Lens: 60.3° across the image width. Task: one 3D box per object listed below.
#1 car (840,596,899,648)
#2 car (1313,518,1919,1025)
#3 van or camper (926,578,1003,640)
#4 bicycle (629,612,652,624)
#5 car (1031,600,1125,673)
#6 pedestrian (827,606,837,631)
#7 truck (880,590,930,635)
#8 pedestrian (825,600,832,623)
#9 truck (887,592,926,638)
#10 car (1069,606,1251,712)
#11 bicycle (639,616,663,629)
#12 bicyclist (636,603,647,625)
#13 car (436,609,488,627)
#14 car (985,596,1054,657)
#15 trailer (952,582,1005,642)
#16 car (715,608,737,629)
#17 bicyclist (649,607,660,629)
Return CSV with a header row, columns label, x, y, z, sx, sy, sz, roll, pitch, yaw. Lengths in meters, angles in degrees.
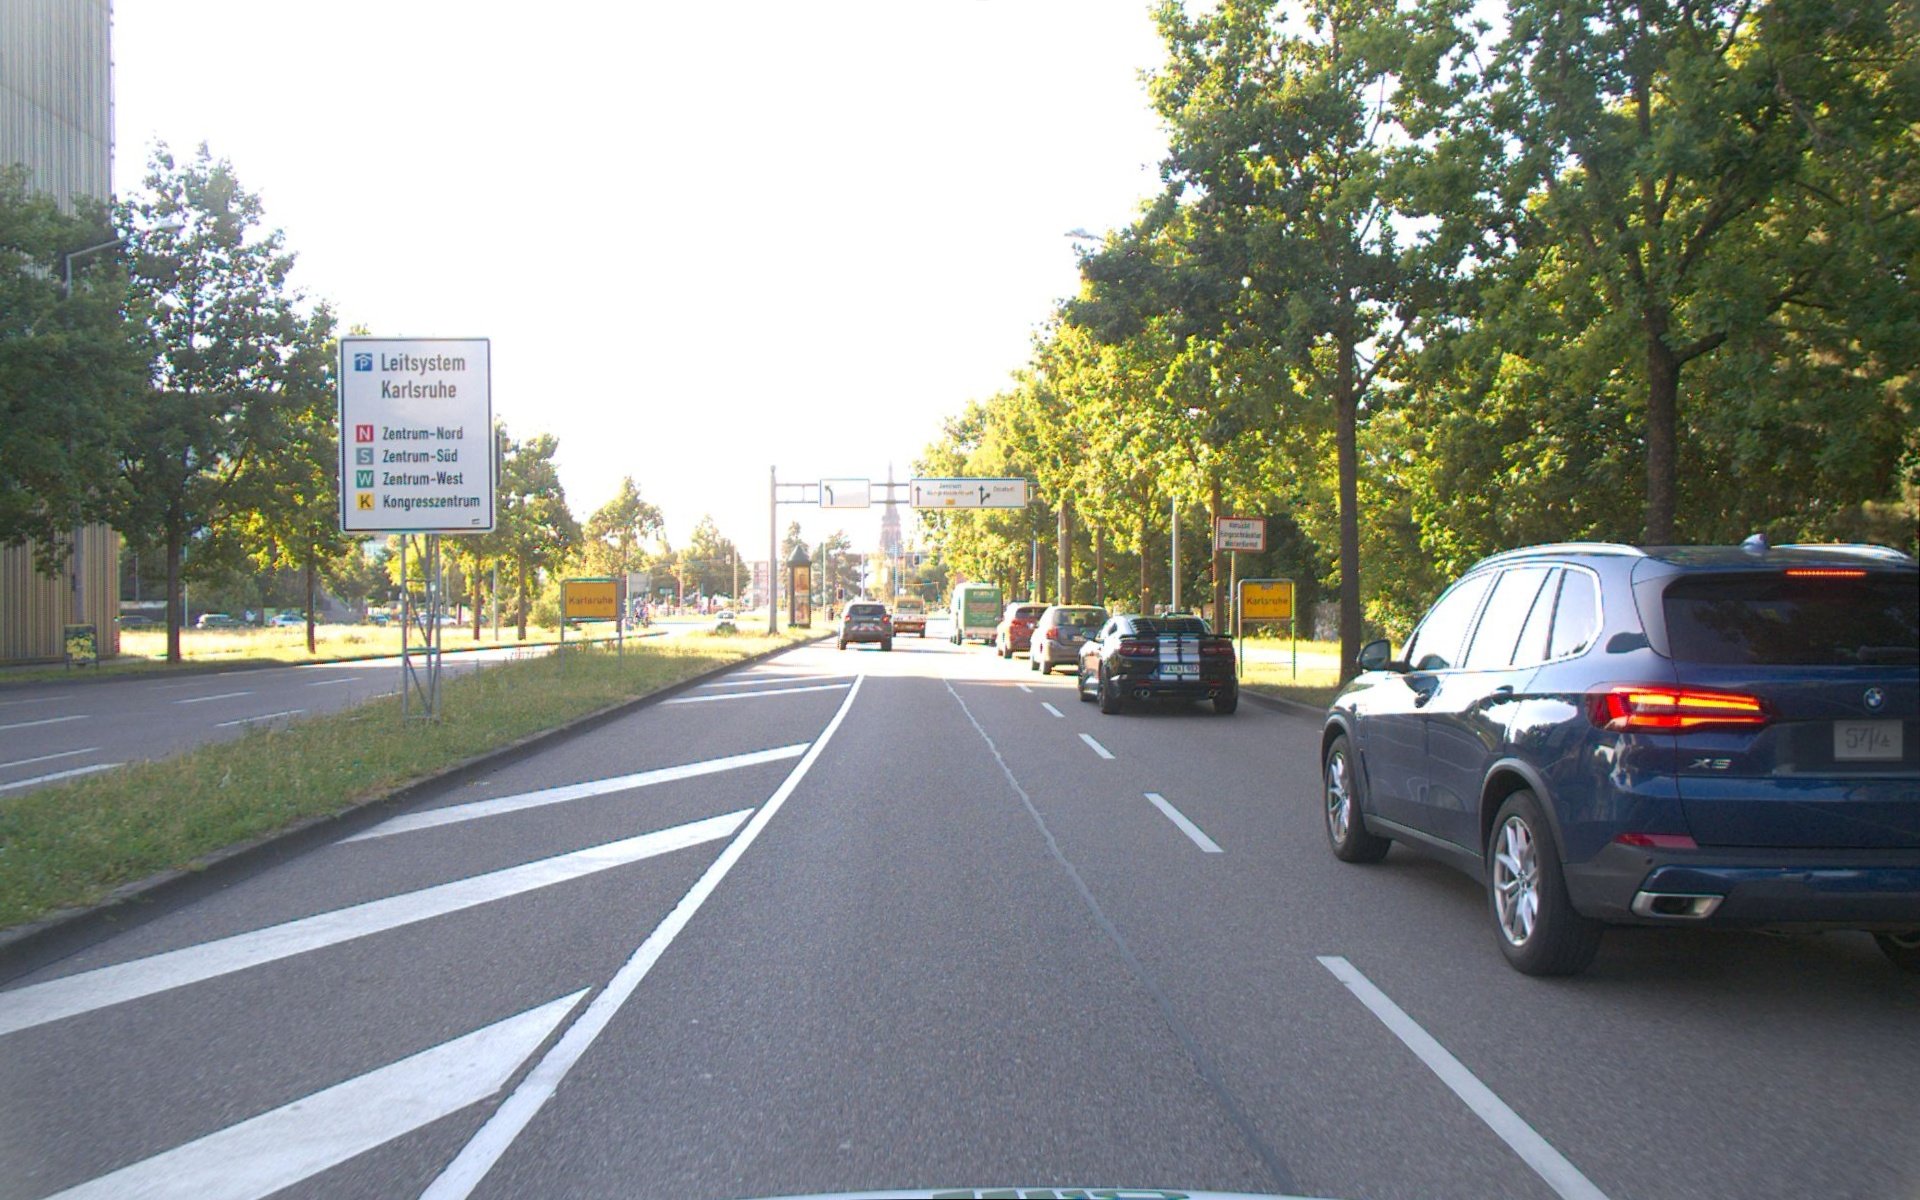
label,x,y,z,sx,sy,sz,roll,pitch,yaw
car,-3.141,0.736,56.935,1.868,1.689,3.995,0,0,-5
car,3.247,0.626,8.127,1.915,1.757,4.697,1,-1,-1
van or camper,0.133,0.388,76.169,2.244,2.675,6.563,1,0,-12
bicycle,-26.550,1.498,137.531,1.867,1.037,0.505,0,0,13
car,2.570,0.774,36.803,1.712,1.499,3.818,-1,0,-1
pedestrian,-10.542,1.537,136.011,0.774,2.049,0.700,0,0,-9
truck,-3.392,0.747,100.909,2.531,2.602,6.243,-1,0,-6
pedestrian,-10.781,0.986,135.918,0.475,1.876,0.720,-1,-1,3
truck,-3.283,0.877,100.253,2.176,2.697,4.770,0,0,-4
car,2.772,0.786,23.901,1.817,1.361,4.622,0,0,-3
bicycle,-25.968,1.914,138.915,1.868,1.037,0.504,1,-1,5
bicyclist,-26.488,1.166,137.526,0.795,1.801,0.497,1,0,13
car,-45.801,1.655,152.147,1.844,1.534,4.277,-1,0,45
car,1.726,0.753,49.163,1.712,1.649,3.818,2,1,-3
trailer,0.740,0.499,70.128,2.048,2.442,3.499,1,0,-2
car,-18.475,1.468,130.745,1.532,1.602,3.409,-1,0,-5
bicyclist,-25.681,1.531,138.902,0.796,1.820,0.496,1,0,5
